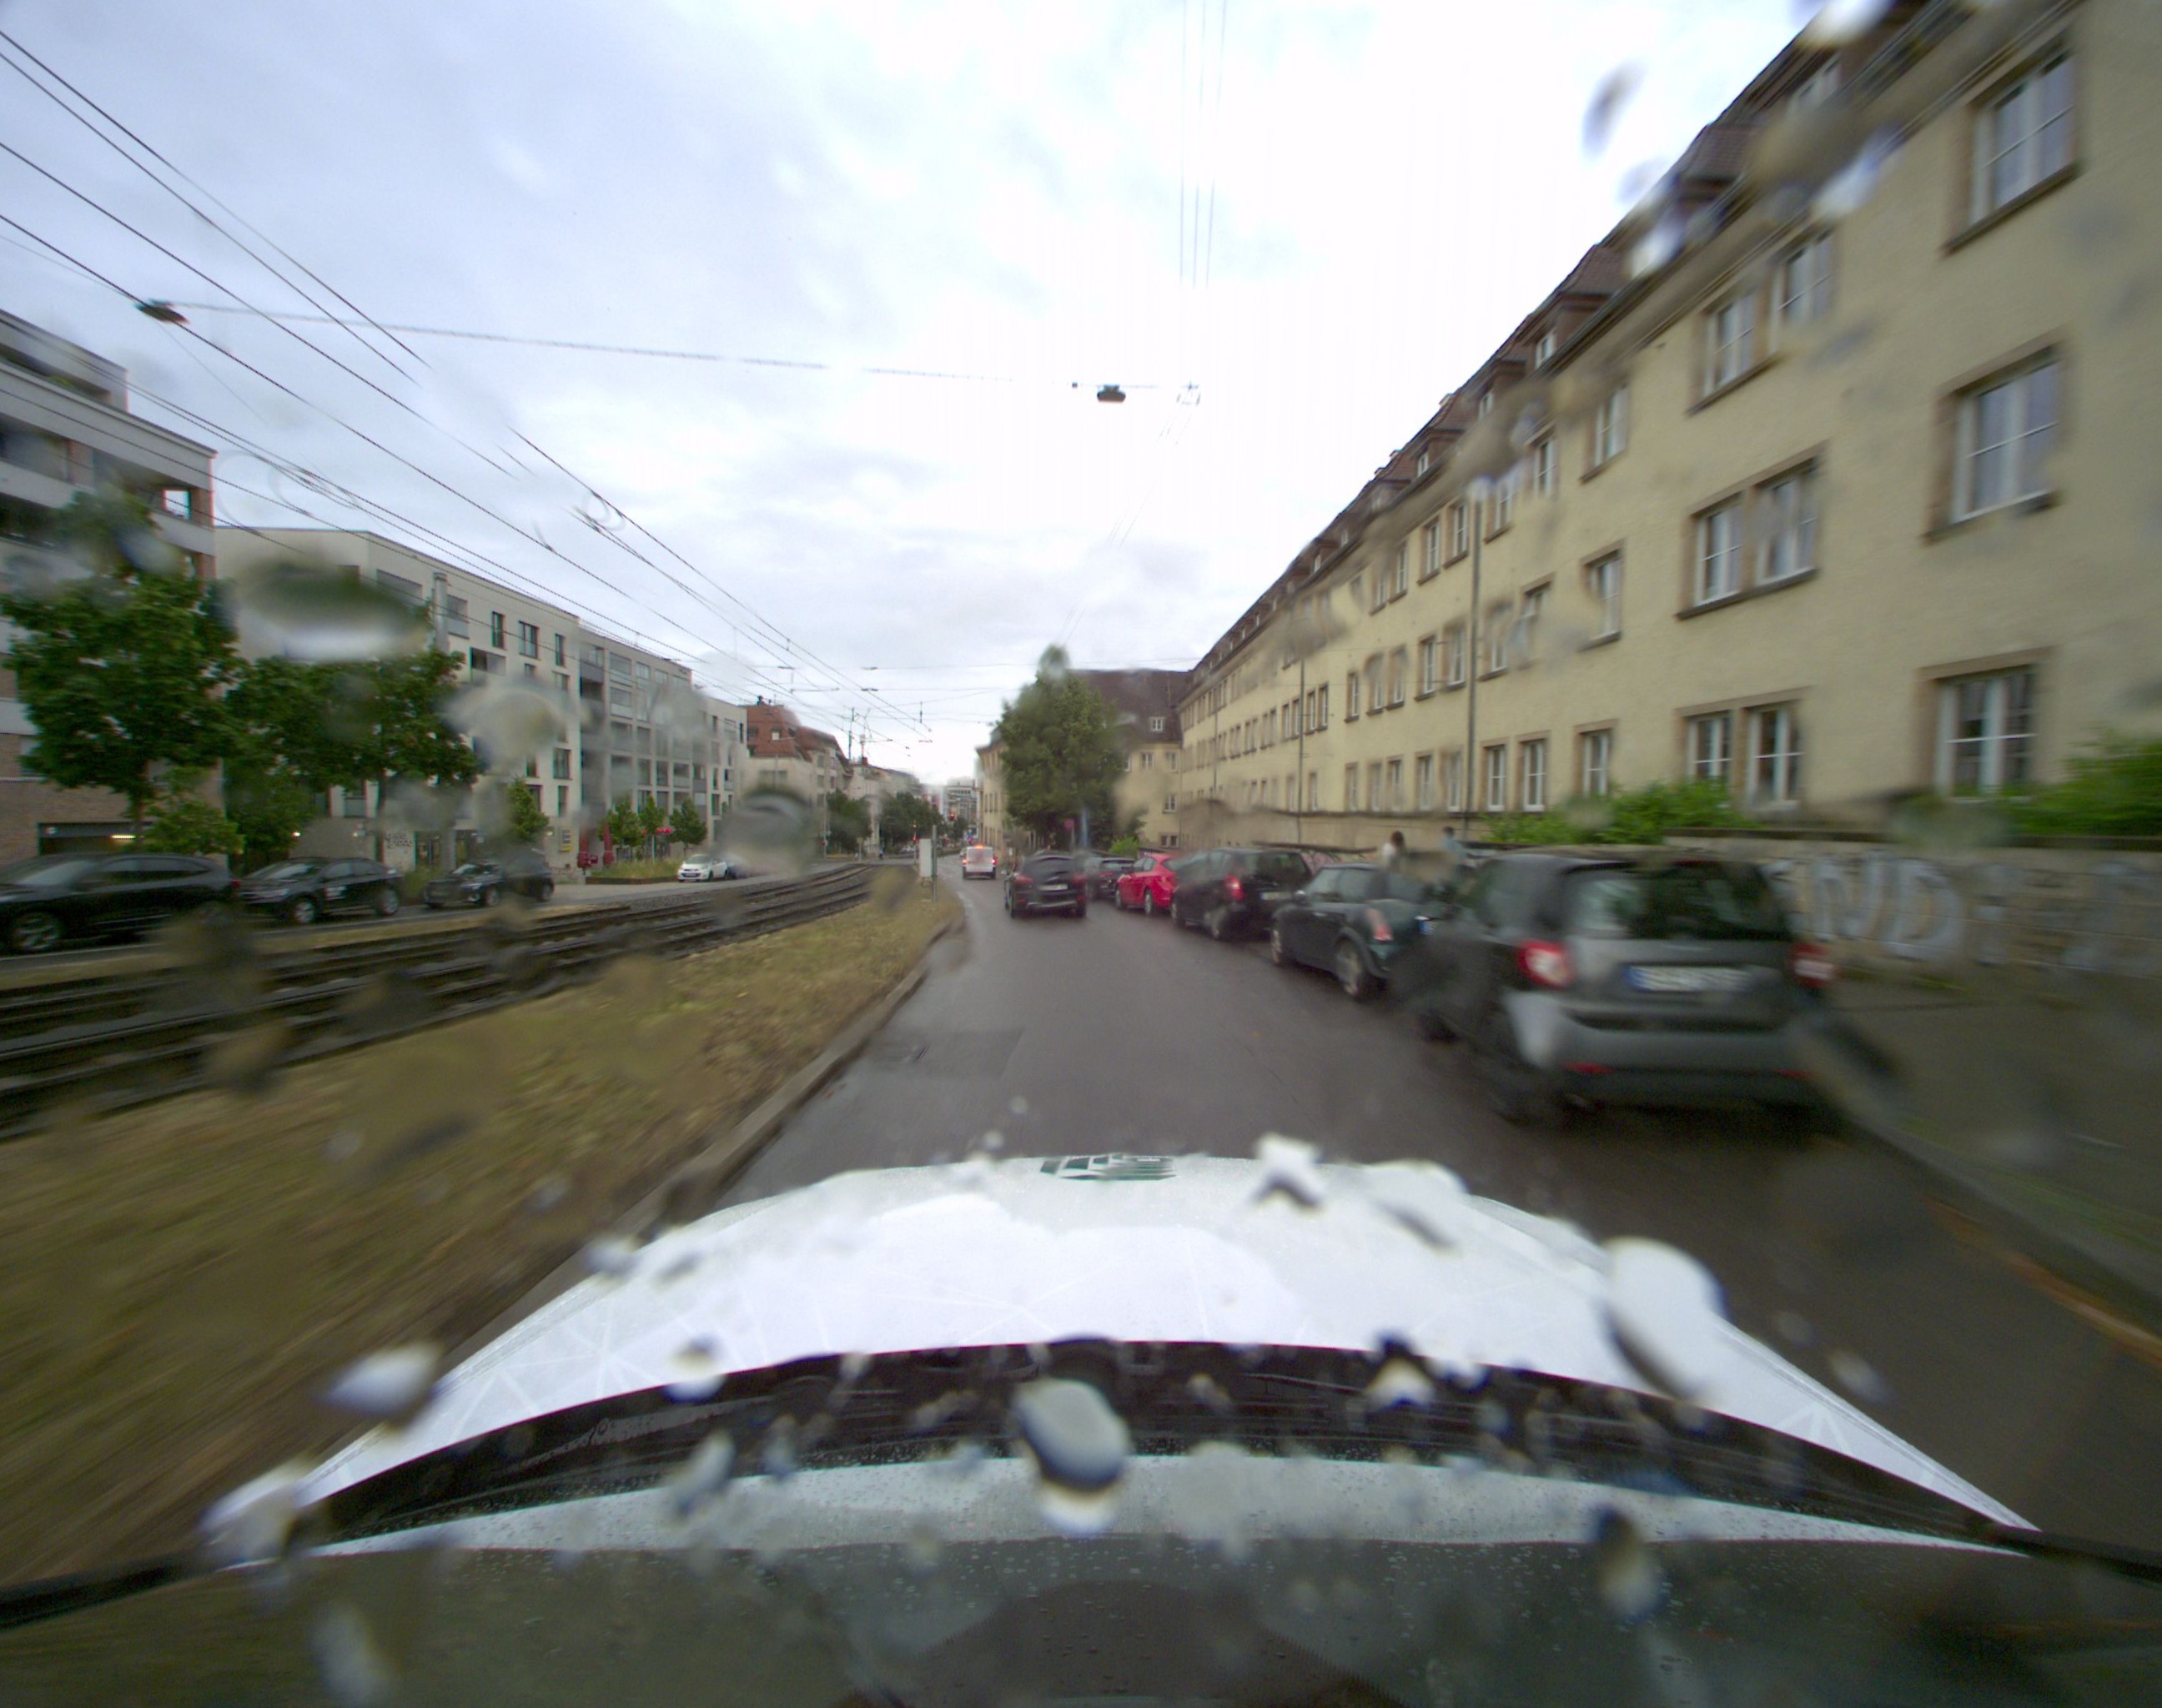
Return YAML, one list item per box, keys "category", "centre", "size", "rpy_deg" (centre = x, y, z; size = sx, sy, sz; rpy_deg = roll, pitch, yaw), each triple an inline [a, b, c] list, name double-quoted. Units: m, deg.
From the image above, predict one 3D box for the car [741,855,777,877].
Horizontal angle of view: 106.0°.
- category: "car"
  centre: [-23.501, 0.839, 59.591]
  size: [1.720, 1.513, 4.302]
  rpy_deg: [-1, 0, -11]

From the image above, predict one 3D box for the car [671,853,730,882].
- category: "car"
  centre: [-20.970, 0.704, 45.039]
  size: [1.763, 1.479, 3.728]
  rpy_deg: [-1, 0, -5]

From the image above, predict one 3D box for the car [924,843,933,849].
- category: "car"
  centre: [-38.612, -1.989, 206.360]
  size: [1.992, 1.662, 3.990]
  rpy_deg: [0, 1, -7]

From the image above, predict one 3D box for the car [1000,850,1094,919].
- category: "car"
  centre: [-0.957, 0.684, 20.568]
  size: [1.920, 1.479, 3.988]
  rpy_deg: [-1, 1, -9]

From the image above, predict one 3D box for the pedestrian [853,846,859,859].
- category: "pedestrian"
  centre: [-33.581, -0.210, 121.661]
  size: [0.907, 1.931, 0.821]
  rpy_deg: [0, 0, -16]

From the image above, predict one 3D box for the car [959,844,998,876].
- category: "car"
  centre: [-5.997, 0.289, 47.580]
  size: [2.136, 1.745, 4.206]
  rpy_deg: [-1, 1, -8]

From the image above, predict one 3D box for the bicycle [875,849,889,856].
- category: "bicycle"
  centre: [-27.948, -0.221, 114.440]
  size: [1.811, 1.064, 0.452]
  rpy_deg: [1, 0, -40]

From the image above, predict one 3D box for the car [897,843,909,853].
- category: "car"
  centre: [-36.963, -1.210, 169.169]
  size: [1.992, 2.013, 3.990]
  rpy_deg: [0, 1, -7]

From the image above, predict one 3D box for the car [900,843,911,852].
- category: "car"
  centre: [-37.850, -1.355, 175.394]
  size: [1.992, 2.013, 3.990]
  rpy_deg: [0, 1, -7]

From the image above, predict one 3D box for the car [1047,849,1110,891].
- category: "car"
  centre: [-0.166, 0.558, 31.688]
  size: [1.667, 1.476, 4.092]
  rpy_deg: [-2, 1, -12]

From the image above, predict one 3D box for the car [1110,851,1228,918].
- category: "car"
  centre: [2.061, 0.685, 20.248]
  size: [1.667, 1.476, 4.048]
  rpy_deg: [0, 0, -13]

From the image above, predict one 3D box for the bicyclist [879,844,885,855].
- category: "bicyclist"
  centre: [-27.981, -0.602, 114.405]
  size: [0.705, 1.574, 0.457]
  rpy_deg: [0, 0, -40]

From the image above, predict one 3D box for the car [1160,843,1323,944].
- category: "car"
  centre: [2.777, 0.616, 14.962]
  size: [1.665, 1.573, 3.843]
  rpy_deg: [-2, 0, -10]

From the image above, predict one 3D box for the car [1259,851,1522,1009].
- category: "car"
  centre: [3.314, 0.700, 9.478]
  size: [1.532, 1.416, 3.640]
  rpy_deg: [-2, 1, -3]

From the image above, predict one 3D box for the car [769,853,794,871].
- category: "car"
  centre: [-26.990, 0.676, 73.511]
  size: [1.776, 1.504, 4.062]
  rpy_deg: [-1, 0, -15]

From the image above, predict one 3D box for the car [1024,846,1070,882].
- category: "car"
  centre: [-1.634, 0.438, 37.747]
  size: [1.665, 1.524, 4.096]
  rpy_deg: [-2, 1, -9]

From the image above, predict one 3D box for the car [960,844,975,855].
- category: "car"
  centre: [-18.791, -0.695, 134.725]
  size: [1.988, 1.772, 3.998]
  rpy_deg: [0, 1, -1]

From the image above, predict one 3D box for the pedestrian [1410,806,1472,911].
- category: "pedestrian"
  centre: [6.189, 0.074, 14.029]
  size: [0.715, 1.754, 0.739]
  rpy_deg: [-1, 0, -1]

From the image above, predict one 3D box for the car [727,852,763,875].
- category: "car"
  centre: [-22.513, 0.613, 54.641]
  size: [1.550, 1.435, 3.437]
  rpy_deg: [-1, 0, -11]

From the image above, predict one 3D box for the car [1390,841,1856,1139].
- category: "car"
  centre: [3.215, 0.666, 5.456]
  size: [1.588, 1.465, 2.728]
  rpy_deg: [-1, 1, 9]

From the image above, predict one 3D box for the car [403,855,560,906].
- category: "car"
  centre: [-18.627, 0.764, 25.589]
  size: [1.962, 1.431, 4.194]
  rpy_deg: [1, 0, -3]

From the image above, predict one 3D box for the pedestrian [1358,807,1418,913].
- category: "pedestrian"
  centre: [5.264, 0.103, 13.985]
  size: [0.715, 1.754, 0.739]
  rpy_deg: [-1, 0, -1]

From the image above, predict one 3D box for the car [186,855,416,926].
- category: "car"
  centre: [-18.624, 0.802, 19.775]
  size: [1.734, 1.489, 4.249]
  rpy_deg: [1, 0, -5]

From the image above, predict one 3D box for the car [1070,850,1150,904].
- category: "car"
  centre: [0.818, 0.652, 25.619]
  size: [1.665, 1.476, 4.443]
  rpy_deg: [-2, 1, -9]

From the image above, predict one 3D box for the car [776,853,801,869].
- category: "car"
  centre: [-28.821, 0.682, 80.300]
  size: [1.915, 1.504, 4.214]
  rpy_deg: [-1, 0, -15]

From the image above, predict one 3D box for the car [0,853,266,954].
- category: "car"
  centre: [-18.124, 0.785, 14.870]
  size: [1.797, 1.583, 4.696]
  rpy_deg: [0, 0, -1]

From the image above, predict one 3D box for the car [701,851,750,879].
- category: "car"
  centre: [-21.483, 0.616, 49.402]
  size: [1.766, 1.561, 4.388]
  rpy_deg: [-1, 0, -11]

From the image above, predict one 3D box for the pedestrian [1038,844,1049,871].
- category: "pedestrian"
  centre: [-2.416, 0.213, 52.752]
  size: [0.632, 1.721, 0.708]
  rpy_deg: [-1, 0, -11]
